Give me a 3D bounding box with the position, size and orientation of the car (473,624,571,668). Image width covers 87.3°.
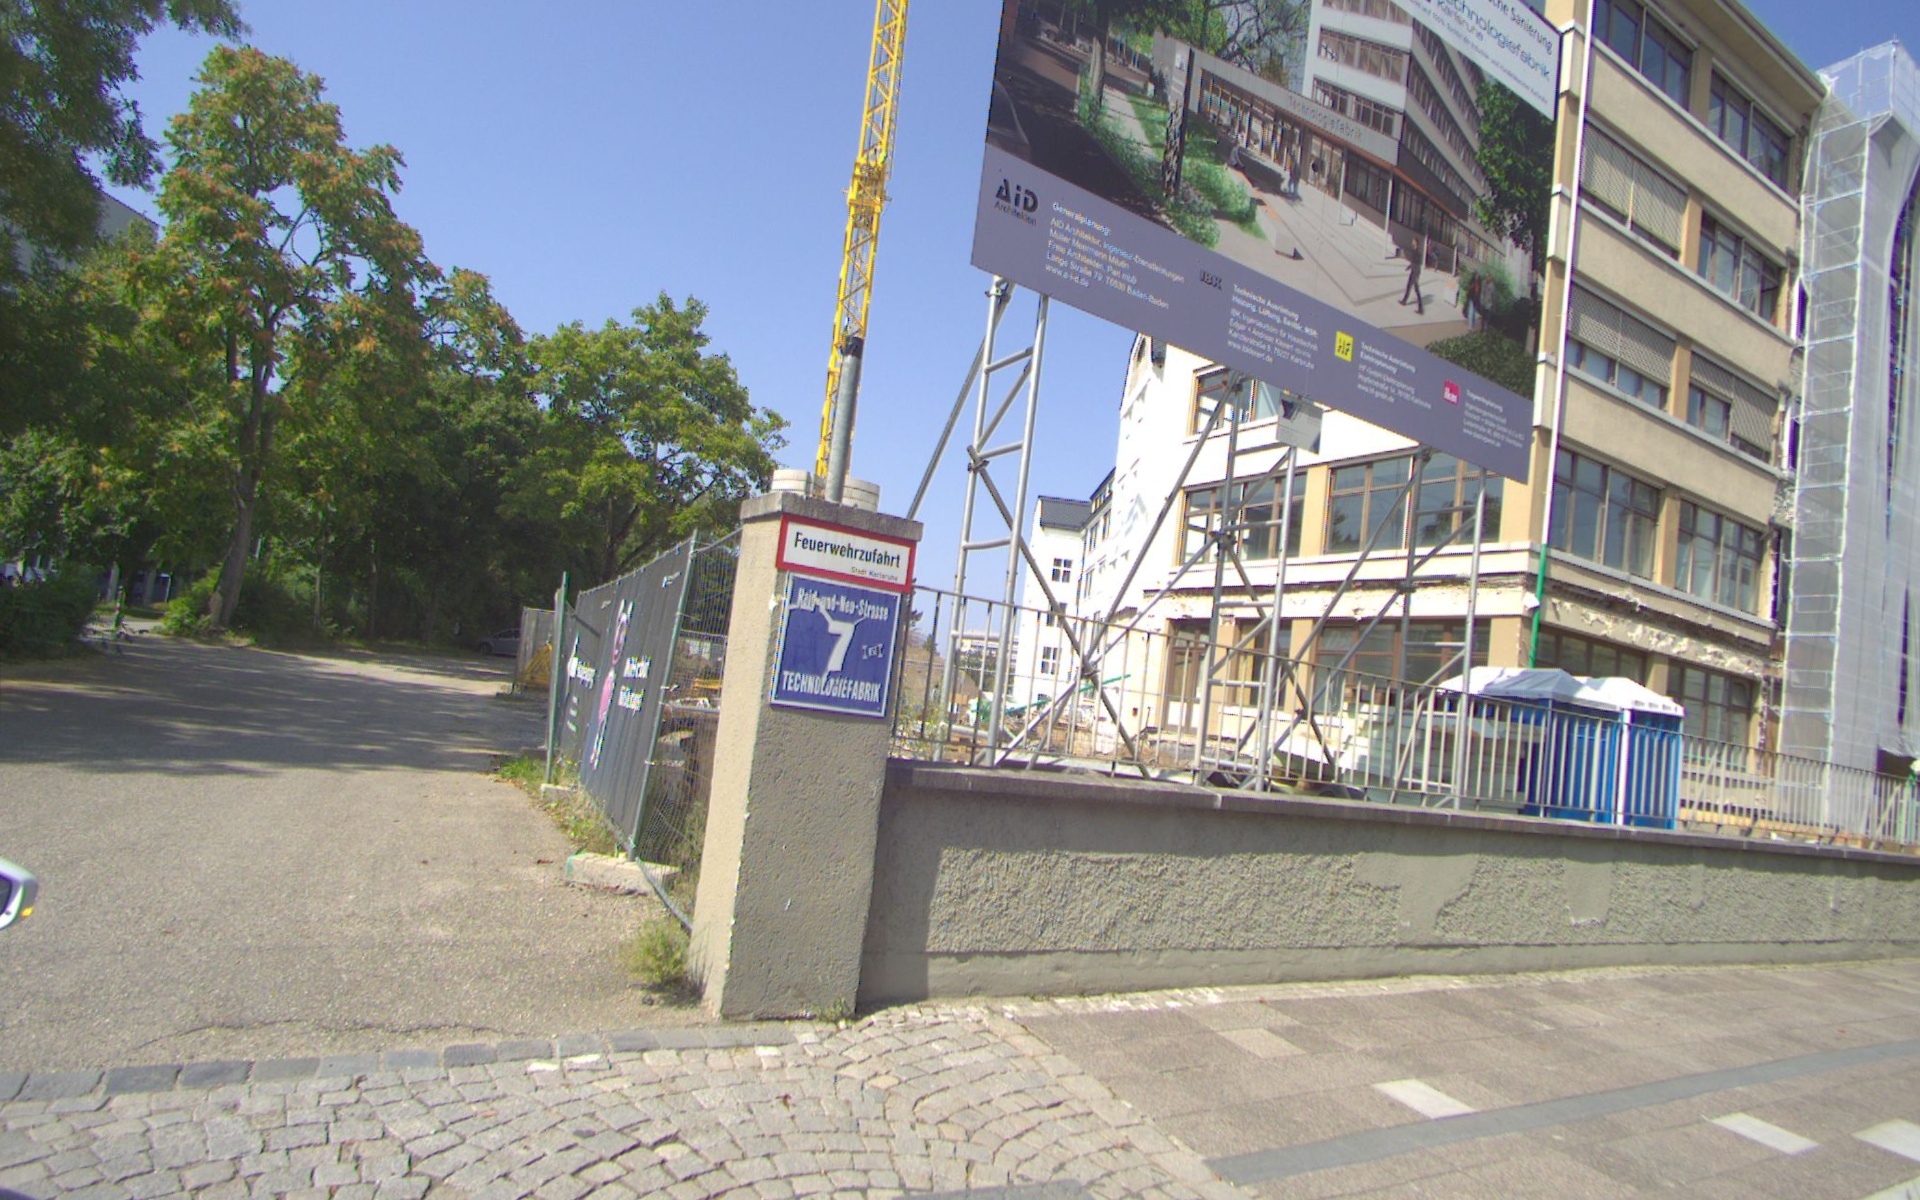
[{"bbox_3d":[-23.109,2.458,53.212,4.085,1.628,2.004,8,-5,-1],"label":"car"}]

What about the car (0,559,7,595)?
[{"bbox_3d":[-28.348,-0.706,26.871,1.675,1.542,3.923,7,-6,4],"label":"car"}]
